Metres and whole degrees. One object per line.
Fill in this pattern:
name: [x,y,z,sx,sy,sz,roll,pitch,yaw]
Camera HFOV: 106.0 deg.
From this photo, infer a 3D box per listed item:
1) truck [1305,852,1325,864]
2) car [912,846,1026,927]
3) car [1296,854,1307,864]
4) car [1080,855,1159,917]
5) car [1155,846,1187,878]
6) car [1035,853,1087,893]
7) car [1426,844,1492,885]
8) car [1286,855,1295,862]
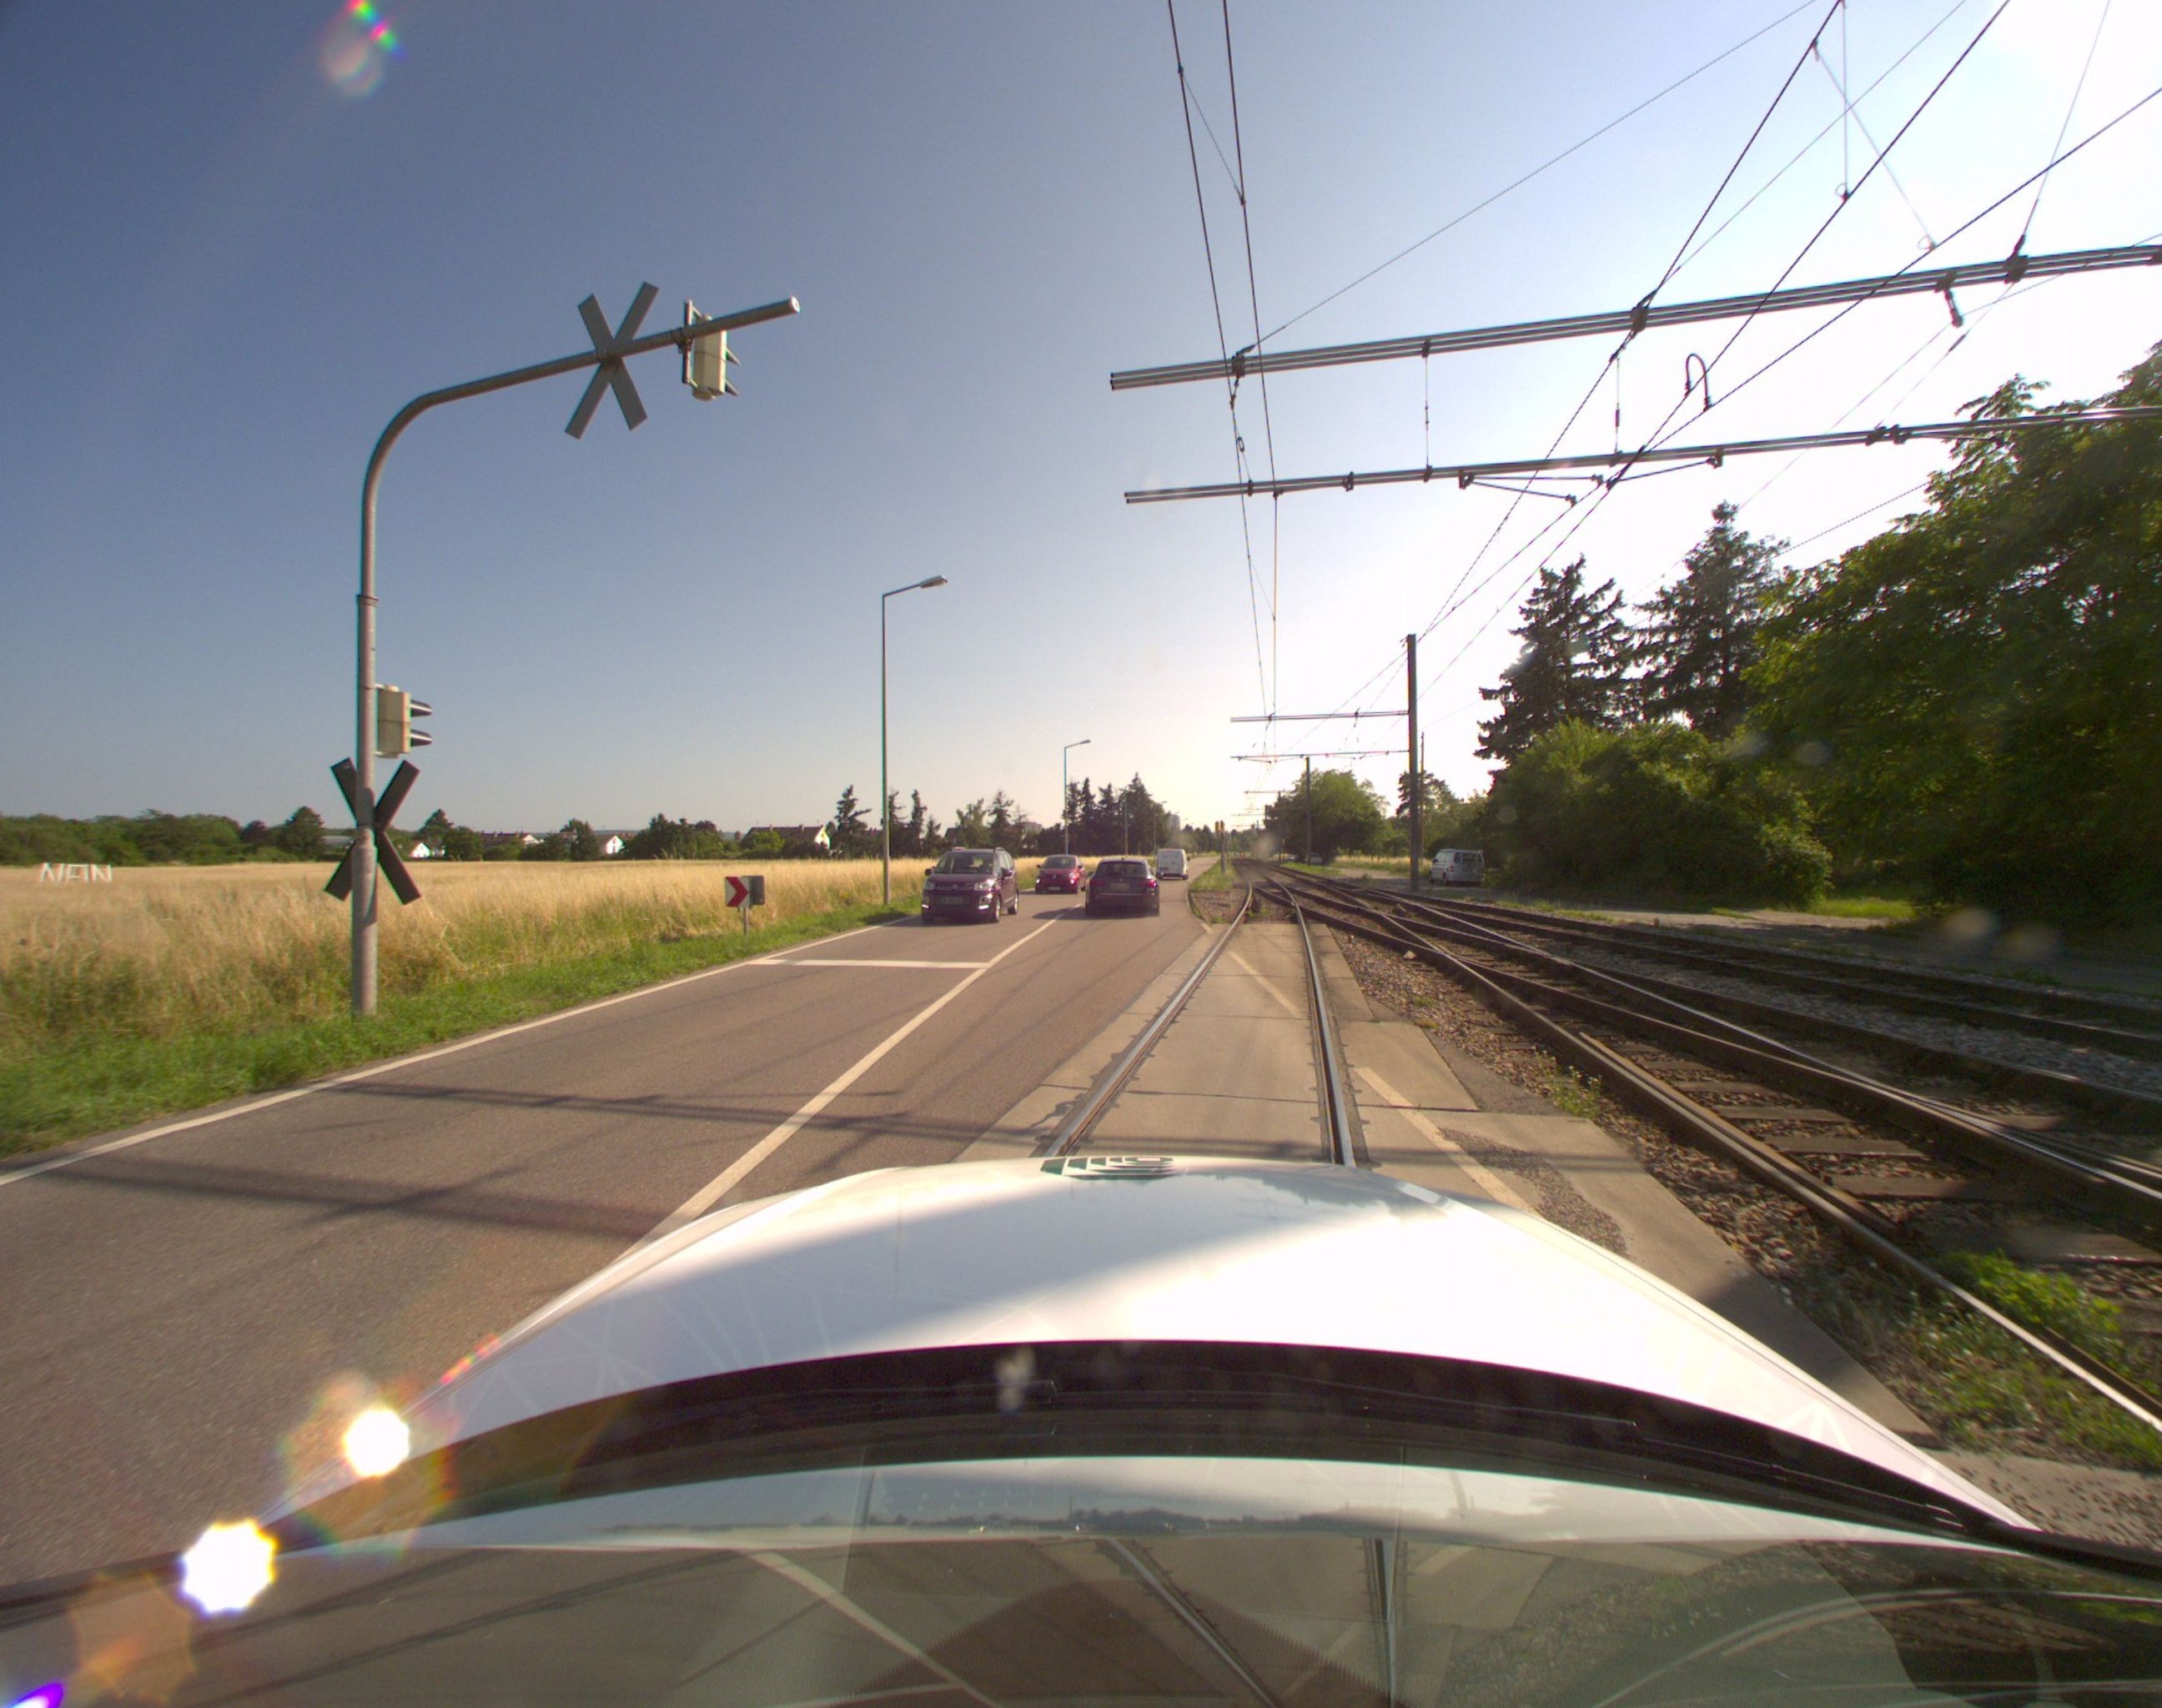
truck: [34.383,0.573,119.616,2.191,1.819,5.946,0,0,10]
car: [-2.497,0.661,19.293,1.698,1.665,4.596,1,0,5]
car: [39.893,0.959,147.282,1.723,1.679,3.556,1,-1,13]
car: [1.145,0.766,21.820,1.860,1.452,4.751,1,0,5]
car: [5.959,0.488,53.602,1.847,1.988,5.120,1,0,9]
car: [-0.778,0.739,33.699,1.704,1.549,3.934,1,0,5]
car: [20.845,0.553,45.115,1.982,2.004,5.080,3,0,9]
car: [42.501,0.877,165.144,1.611,1.398,3.499,1,-1,10]
